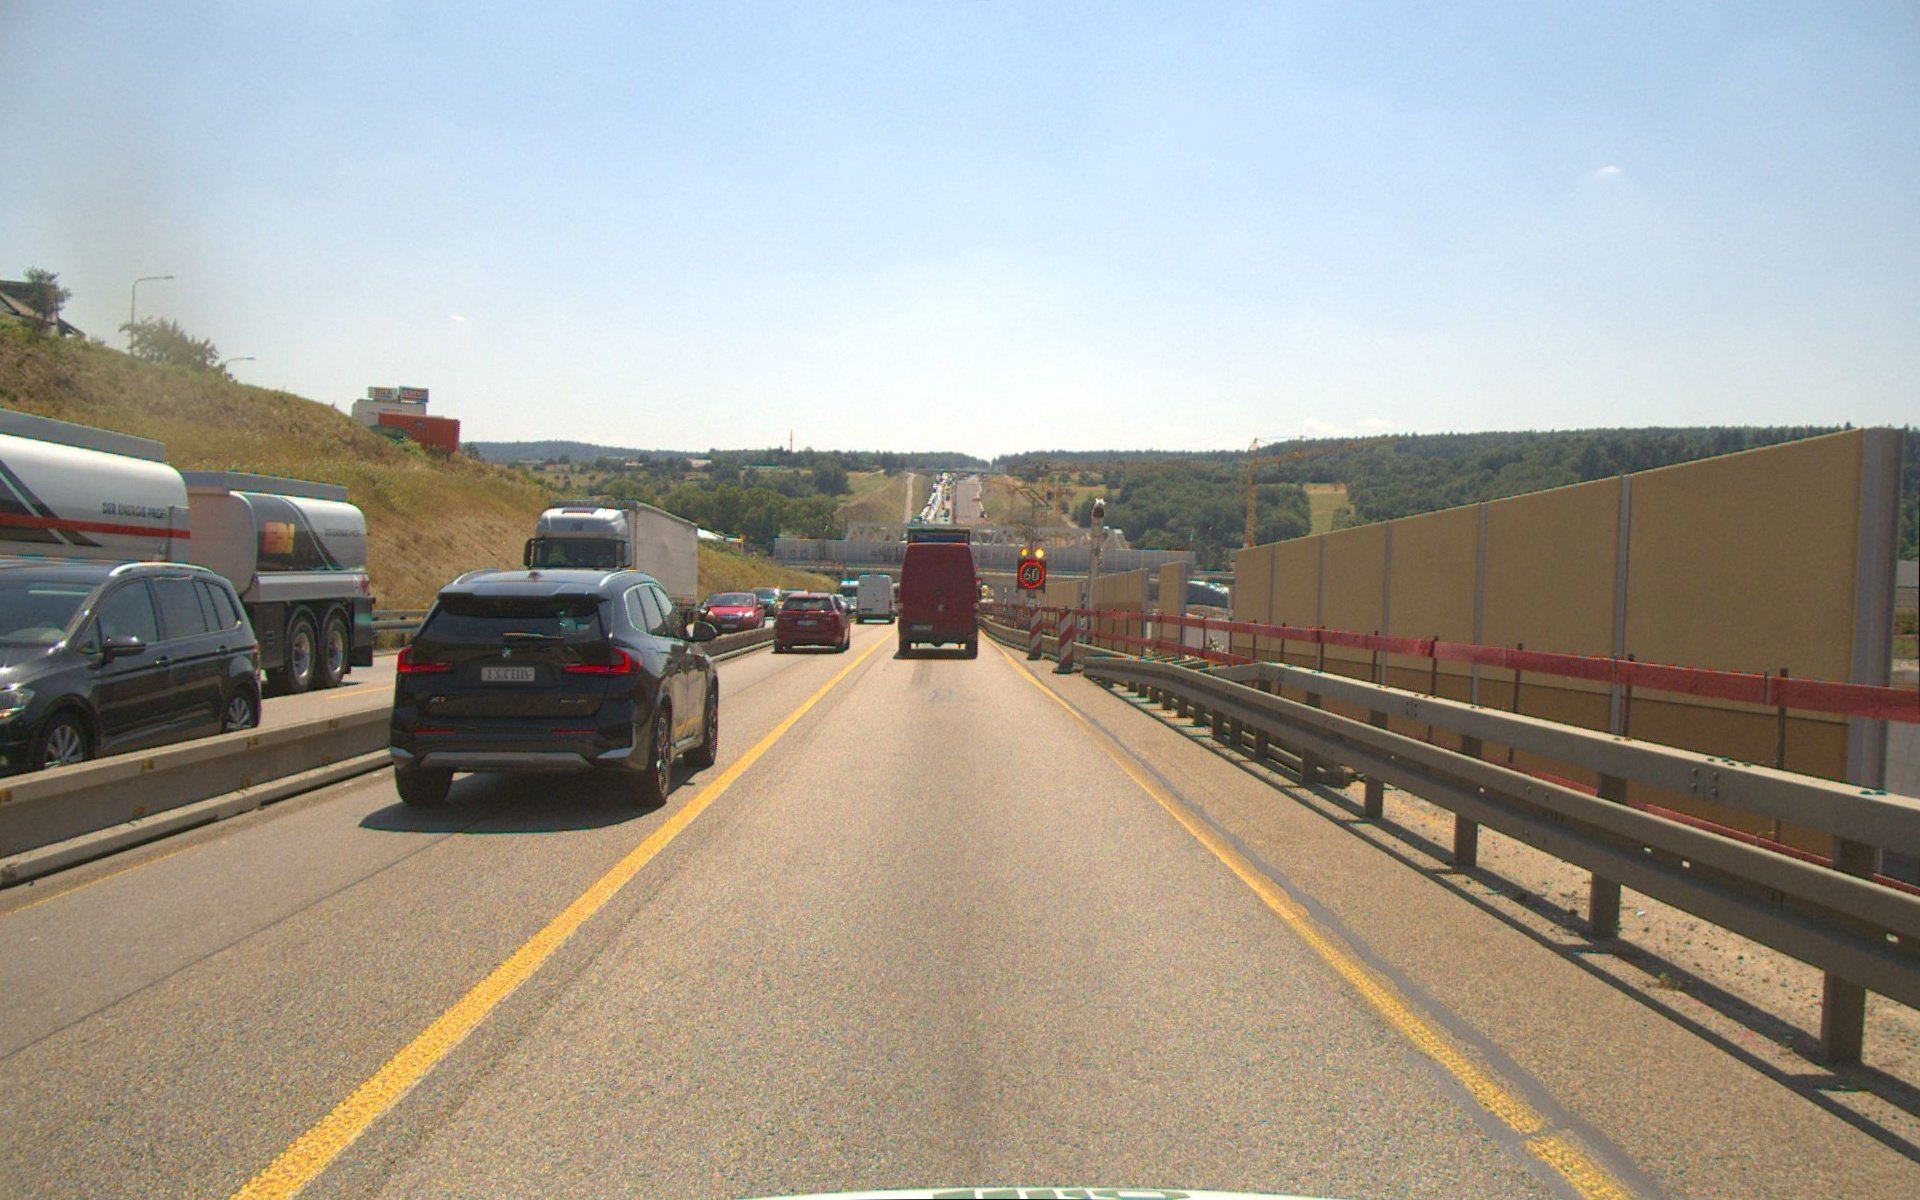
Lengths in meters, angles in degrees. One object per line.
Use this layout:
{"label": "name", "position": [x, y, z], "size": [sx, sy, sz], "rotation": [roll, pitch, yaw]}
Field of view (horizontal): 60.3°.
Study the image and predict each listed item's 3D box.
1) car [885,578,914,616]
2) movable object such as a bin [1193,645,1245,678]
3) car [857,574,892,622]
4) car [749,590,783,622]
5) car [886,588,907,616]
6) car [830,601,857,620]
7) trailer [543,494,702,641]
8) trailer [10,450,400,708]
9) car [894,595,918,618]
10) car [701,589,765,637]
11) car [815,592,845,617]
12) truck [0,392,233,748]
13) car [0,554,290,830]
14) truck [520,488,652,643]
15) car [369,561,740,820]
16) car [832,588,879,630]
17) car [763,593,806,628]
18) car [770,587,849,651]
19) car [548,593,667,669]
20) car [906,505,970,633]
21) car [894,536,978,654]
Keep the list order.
{"label": "car", "position": [-3.839, -0.179, 105.591], "size": [1.740, 2.370, 4.205], "rotation": [0, 0, -1]}
{"label": "movable object such as a bin", "position": [22.381, 5.251, 143.129], "size": [3.099, 2.488, 7.893], "rotation": [3, 0, 0]}
{"label": "car", "position": [-4.581, -0.116, 88.724], "size": [1.740, 2.484, 4.205], "rotation": [0, 0, -1]}
{"label": "car", "position": [-12.106, 0.344, 103.383], "size": [1.762, 1.960, 4.106], "rotation": [-1, 0, -2]}
{"label": "car", "position": [-5.481, 0.162, 142.859], "size": [1.740, 2.370, 4.205], "rotation": [0, 0, -1]}
{"label": "car", "position": [-9.646, 0.854, 137.439], "size": [1.915, 1.525, 5.088], "rotation": [1, 0, -1]}
{"label": "trailer", "position": [-10.930, -0.974, 55.185], "size": [2.729, 4.255, 13.975], "rotation": [0, 0, -1]}
{"label": "trailer", "position": [-10.111, -0.274, 22.984], "size": [2.559, 3.053, 6.369], "rotation": [1, 0, -1]}
{"label": "car", "position": [-4.015, 0.485, 122.753], "size": [1.740, 1.699, 4.027], "rotation": [0, 0, -1]}
{"label": "car", "position": [-7.425, 0.399, 54.412], "size": [1.636, 1.492, 3.999], "rotation": [0, 0, -1]}
{"label": "car", "position": [-8.933, 0.288, 113.854], "size": [1.802, 1.683, 5.369], "rotation": [0, 0, -2]}
{"label": "truck", "position": [-9.955, -0.287, 15.235], "size": [2.671, 3.197, 8.957], "rotation": [1, 0, -1]}
{"label": "car", "position": [-6.653, 0.528, 12.150], "size": [1.683, 1.663, 4.498], "rotation": [1, 0, -1]}
{"label": "truck", "position": [-10.754, -0.961, 48.015], "size": [2.690, 4.255, 5.287], "rotation": [0, 0, -1]}
{"label": "car", "position": [-2.876, 0.574, 12.781], "size": [1.841, 1.646, 4.498], "rotation": [0, 0, -1]}
{"label": "car", "position": [-4.314, 0.347, 68.744], "size": [1.802, 1.683, 4.163], "rotation": [0, 0, -2]}
{"label": "car", "position": [-8.611, 0.524, 81.544], "size": [1.795, 1.695, 4.412], "rotation": [0, 0, -2]}
{"label": "car", "position": [-3.784, 0.465, 42.056], "size": [1.740, 1.544, 4.204], "rotation": [0, 0, -2]}
{"label": "car", "position": [-6.982, 0.570, 33.091], "size": [1.632, 1.418, 3.904], "rotation": [0, 0, -1]}
{"label": "car", "position": [-0.992, -1.231, 71.470], "size": [2.568, 5.120, 10.394], "rotation": [0, 0, -1]}
{"label": "car", "position": [-0.595, -0.118, 40.852], "size": [1.948, 2.737, 4.622], "rotation": [0, 0, -1]}
